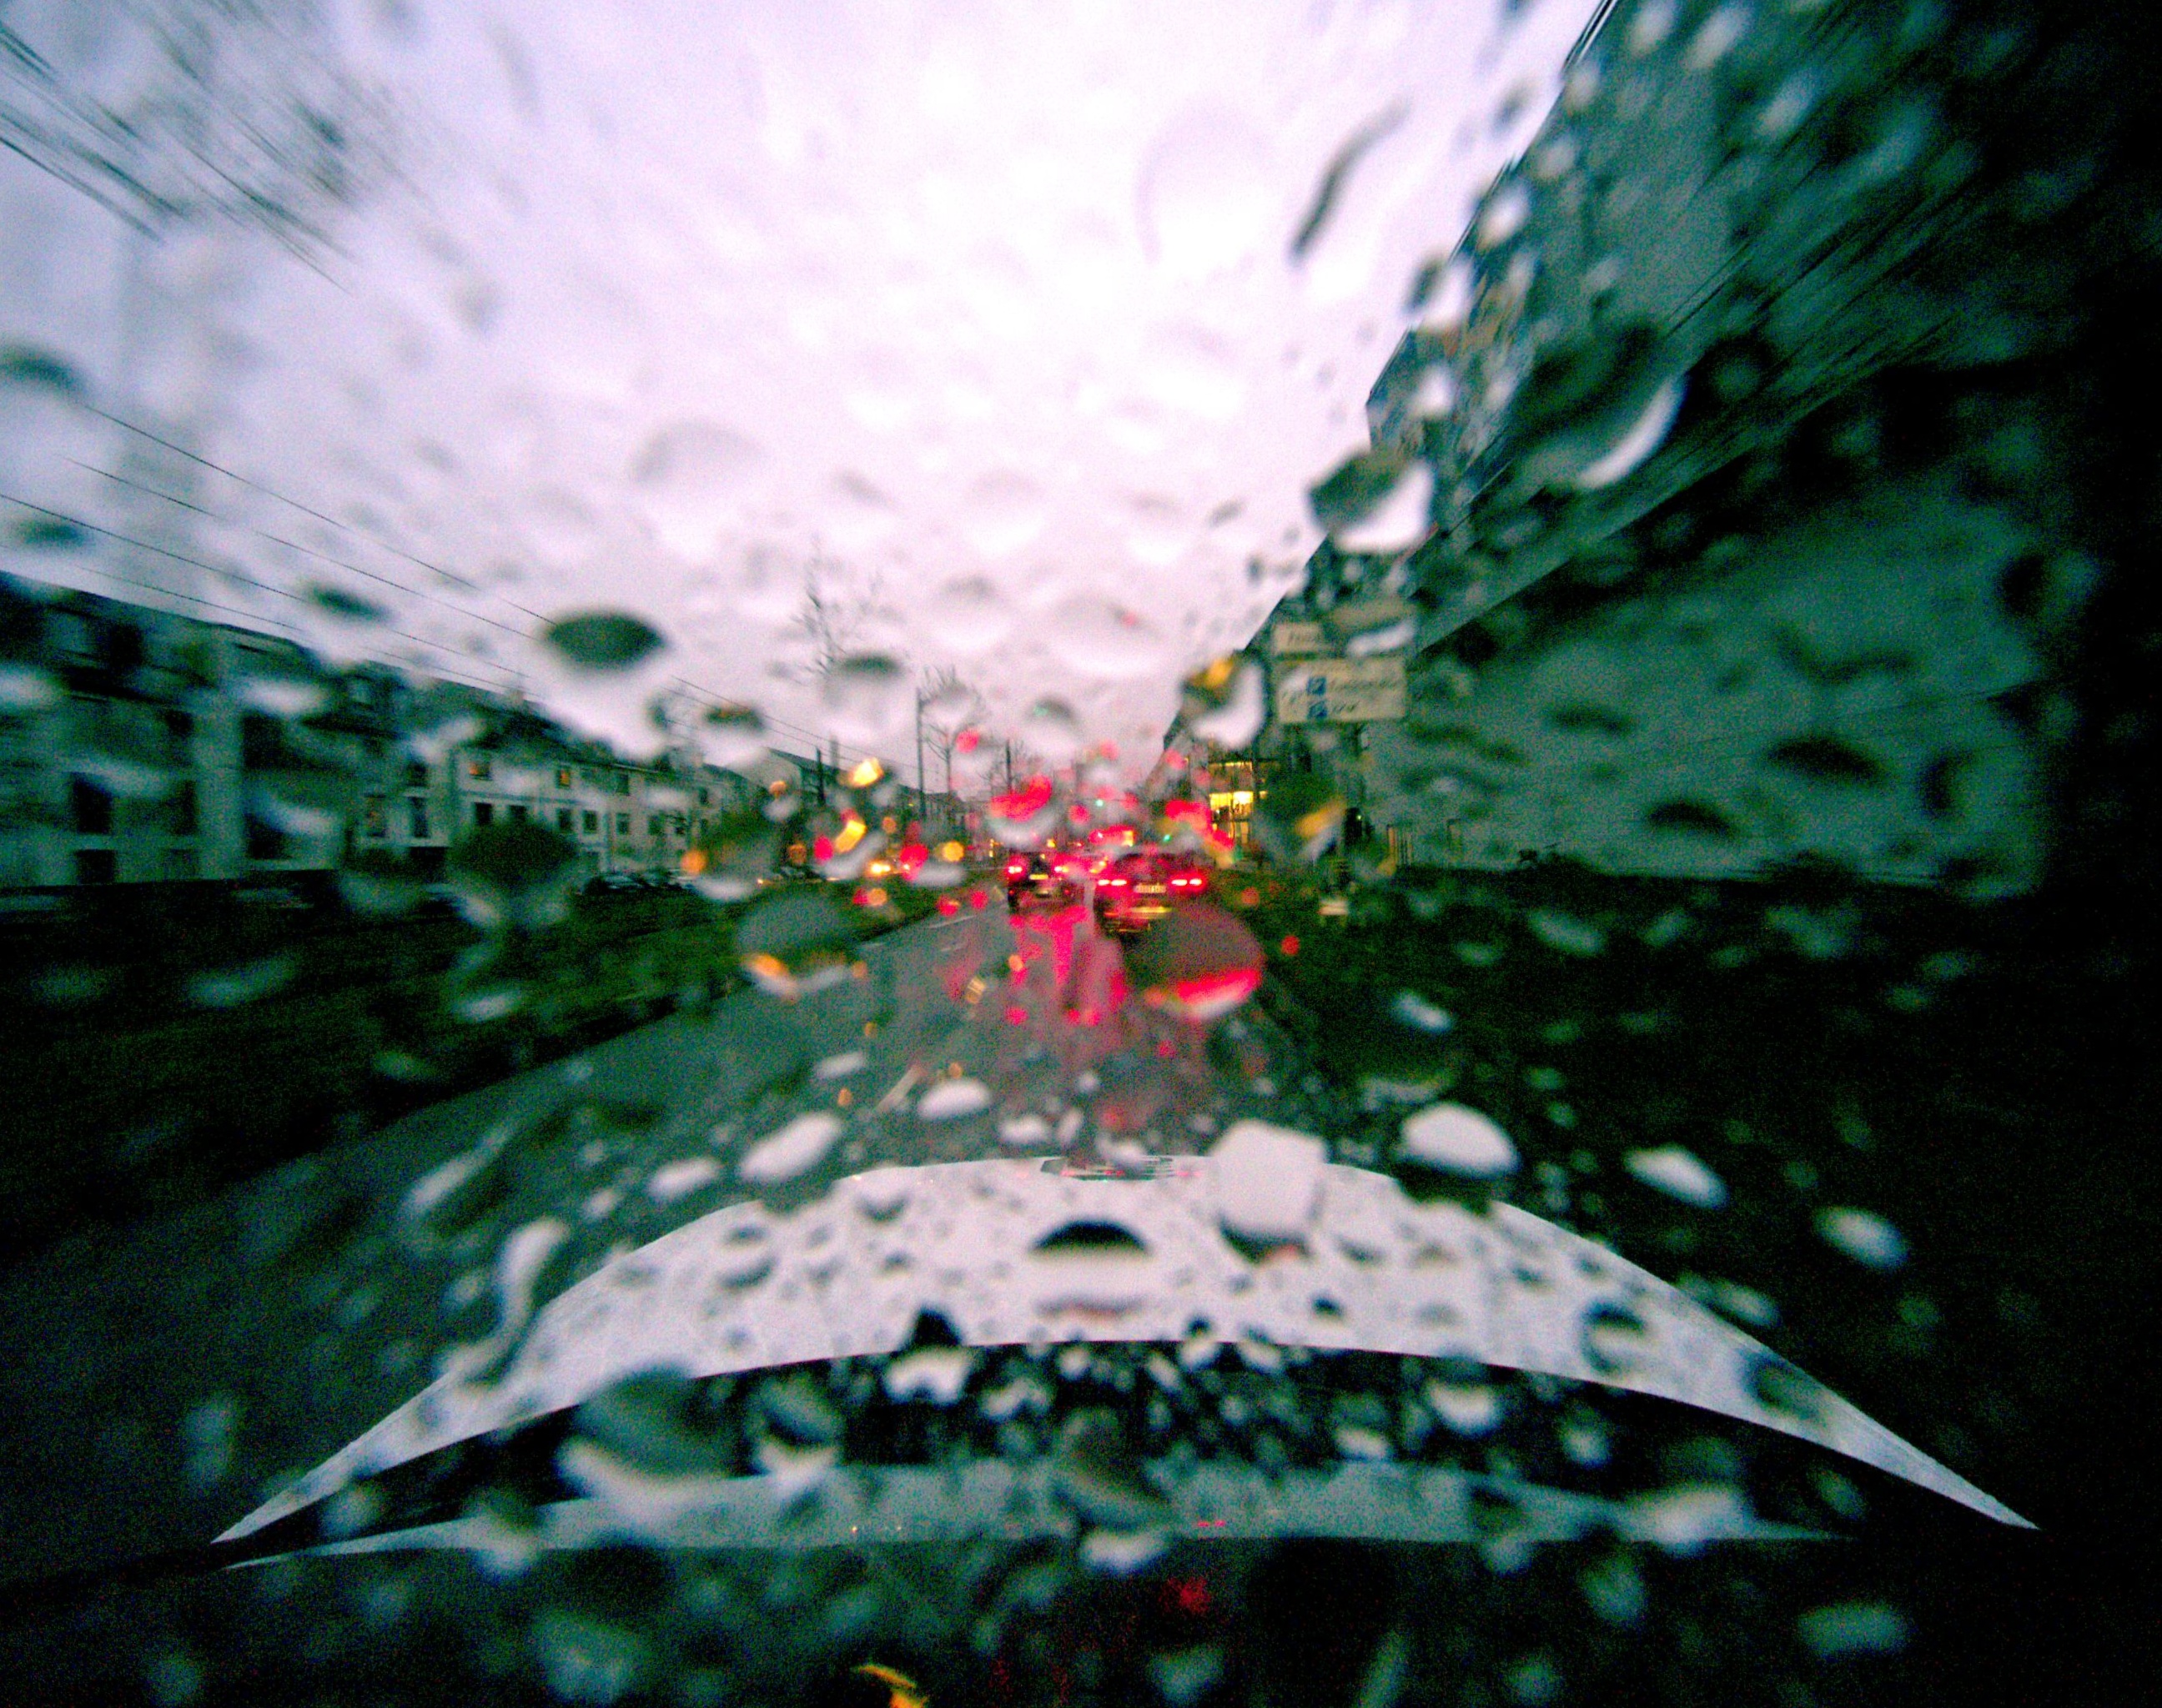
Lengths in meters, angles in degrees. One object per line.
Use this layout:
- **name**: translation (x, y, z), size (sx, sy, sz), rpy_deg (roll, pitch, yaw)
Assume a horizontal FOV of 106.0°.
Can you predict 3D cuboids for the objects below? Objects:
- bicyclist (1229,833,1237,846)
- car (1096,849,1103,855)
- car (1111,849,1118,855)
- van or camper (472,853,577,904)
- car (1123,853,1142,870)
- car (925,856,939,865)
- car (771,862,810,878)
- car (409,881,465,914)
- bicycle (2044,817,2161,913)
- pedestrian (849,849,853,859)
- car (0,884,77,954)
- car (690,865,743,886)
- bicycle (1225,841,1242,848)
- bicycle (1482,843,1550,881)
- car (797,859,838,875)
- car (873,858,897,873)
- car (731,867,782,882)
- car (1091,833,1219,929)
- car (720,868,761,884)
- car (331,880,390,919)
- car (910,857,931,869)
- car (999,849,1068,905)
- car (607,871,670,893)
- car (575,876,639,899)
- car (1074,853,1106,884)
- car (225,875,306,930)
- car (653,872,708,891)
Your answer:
- **bicyclist**: translation (16.614, -1.566, 88.888), size (0.615, 1.330, 0.569), rpy_deg (0, 0, 34)
- **car**: translation (4.522, -0.534, 196.262), size (1.542, 1.508, 3.388), rpy_deg (0, 0, 2)
- **car**: translation (7.874, -0.479, 191.800), size (1.542, 1.508, 3.471), rpy_deg (0, 0, 2)
- **van or camper**: translation (-27.652, 1.156, 40.364), size (6.792, 2.360, 2.013), rpy_deg (0, 0, 35)
- **car**: translation (4.748, 0.666, 75.904), size (1.617, 1.498, 3.527), rpy_deg (0, 0, 2)
- **car**: translation (-26.271, 1.111, 143.459), size (1.927, 1.597, 3.724), rpy_deg (0, 0, -2)
- **car**: translation (-26.104, 1.475, 73.227), size (3.719, 1.337, 1.463), rpy_deg (-2, 0, 37)
- **car**: translation (-26.862, 1.778, 33.939), size (2.851, 1.203, 1.397), rpy_deg (0, 0, 42)
- **bicycle**: translation (14.661, 0.138, 11.730), size (0.406, 1.284, 1.755), rpy_deg (0, 0, 28)
- **pedestrian**: translation (-26.791, -0.026, 94.831), size (0.348, 1.184, 0.429), rpy_deg (0, 0, -40)
- **car**: translation (-27.236, 1.616, 20.909), size (4.109, 1.541, 1.681), rpy_deg (0, 0, 37)
- **car**: translation (-26.642, 1.539, 59.453), size (4.071, 1.378, 1.784), rpy_deg (0, 0, 38)
- **bicycle**: translation (16.649, -1.067, 88.851), size (1.711, 0.745, 0.656), rpy_deg (0, 0, 35)
- **bicycle**: translation (12.965, 0.231, 24.289), size (1.803, 1.052, 0.396), rpy_deg (-3, 0, -1)
- **car**: translation (-25.678, 1.233, 79.337), size (3.749, 1.555, 1.753), rpy_deg (0, 0, 33)
- **car**: translation (-21.168, 1.240, 88.136), size (1.608, 1.623, 3.510), rpy_deg (0, 0, 1)
- **car**: translation (-26.158, 1.642, 65.690), size (4.135, 1.116, 1.692), rpy_deg (0, 0, 32)
- **car**: translation (1.193, 0.429, 14.591), size (1.986, 1.483, 3.700), rpy_deg (0, 0, 1)
- **car**: translation (-26.289, 1.669, 62.823), size (3.006, 1.147, 1.406), rpy_deg (0, 0, 32)
- **car**: translation (-27.993, 1.731, 31.608), size (3.058, 1.302, 1.397), rpy_deg (0, 0, 42)
- **car**: translation (-22.149, 1.213, 112.497), size (1.874, 1.502, 4.790), rpy_deg (0, 0, 0)
- **car**: translation (-1.286, 0.602, 23.562), size (1.812, 1.450, 3.999), rpy_deg (0, 0, -1)
- **car**: translation (-26.846, 1.665, 49.393), size (3.495, 1.200, 1.894), rpy_deg (0, 0, 32)
- **car**: translation (-27.148, 1.889, 46.660), size (3.495, 1.212, 1.759), rpy_deg (0, 0, 32)
- **car**: translation (0.508, 0.750, 45.094), size (1.684, 1.635, 3.474), rpy_deg (0, 0, 1)
- **car**: translation (-27.185, 1.548, 27.117), size (3.800, 1.588, 1.753), rpy_deg (0, 0, 42)
- **car**: translation (-26.142, 1.761, 53.105), size (3.374, 1.147, 1.702), rpy_deg (0, 0, 32)
